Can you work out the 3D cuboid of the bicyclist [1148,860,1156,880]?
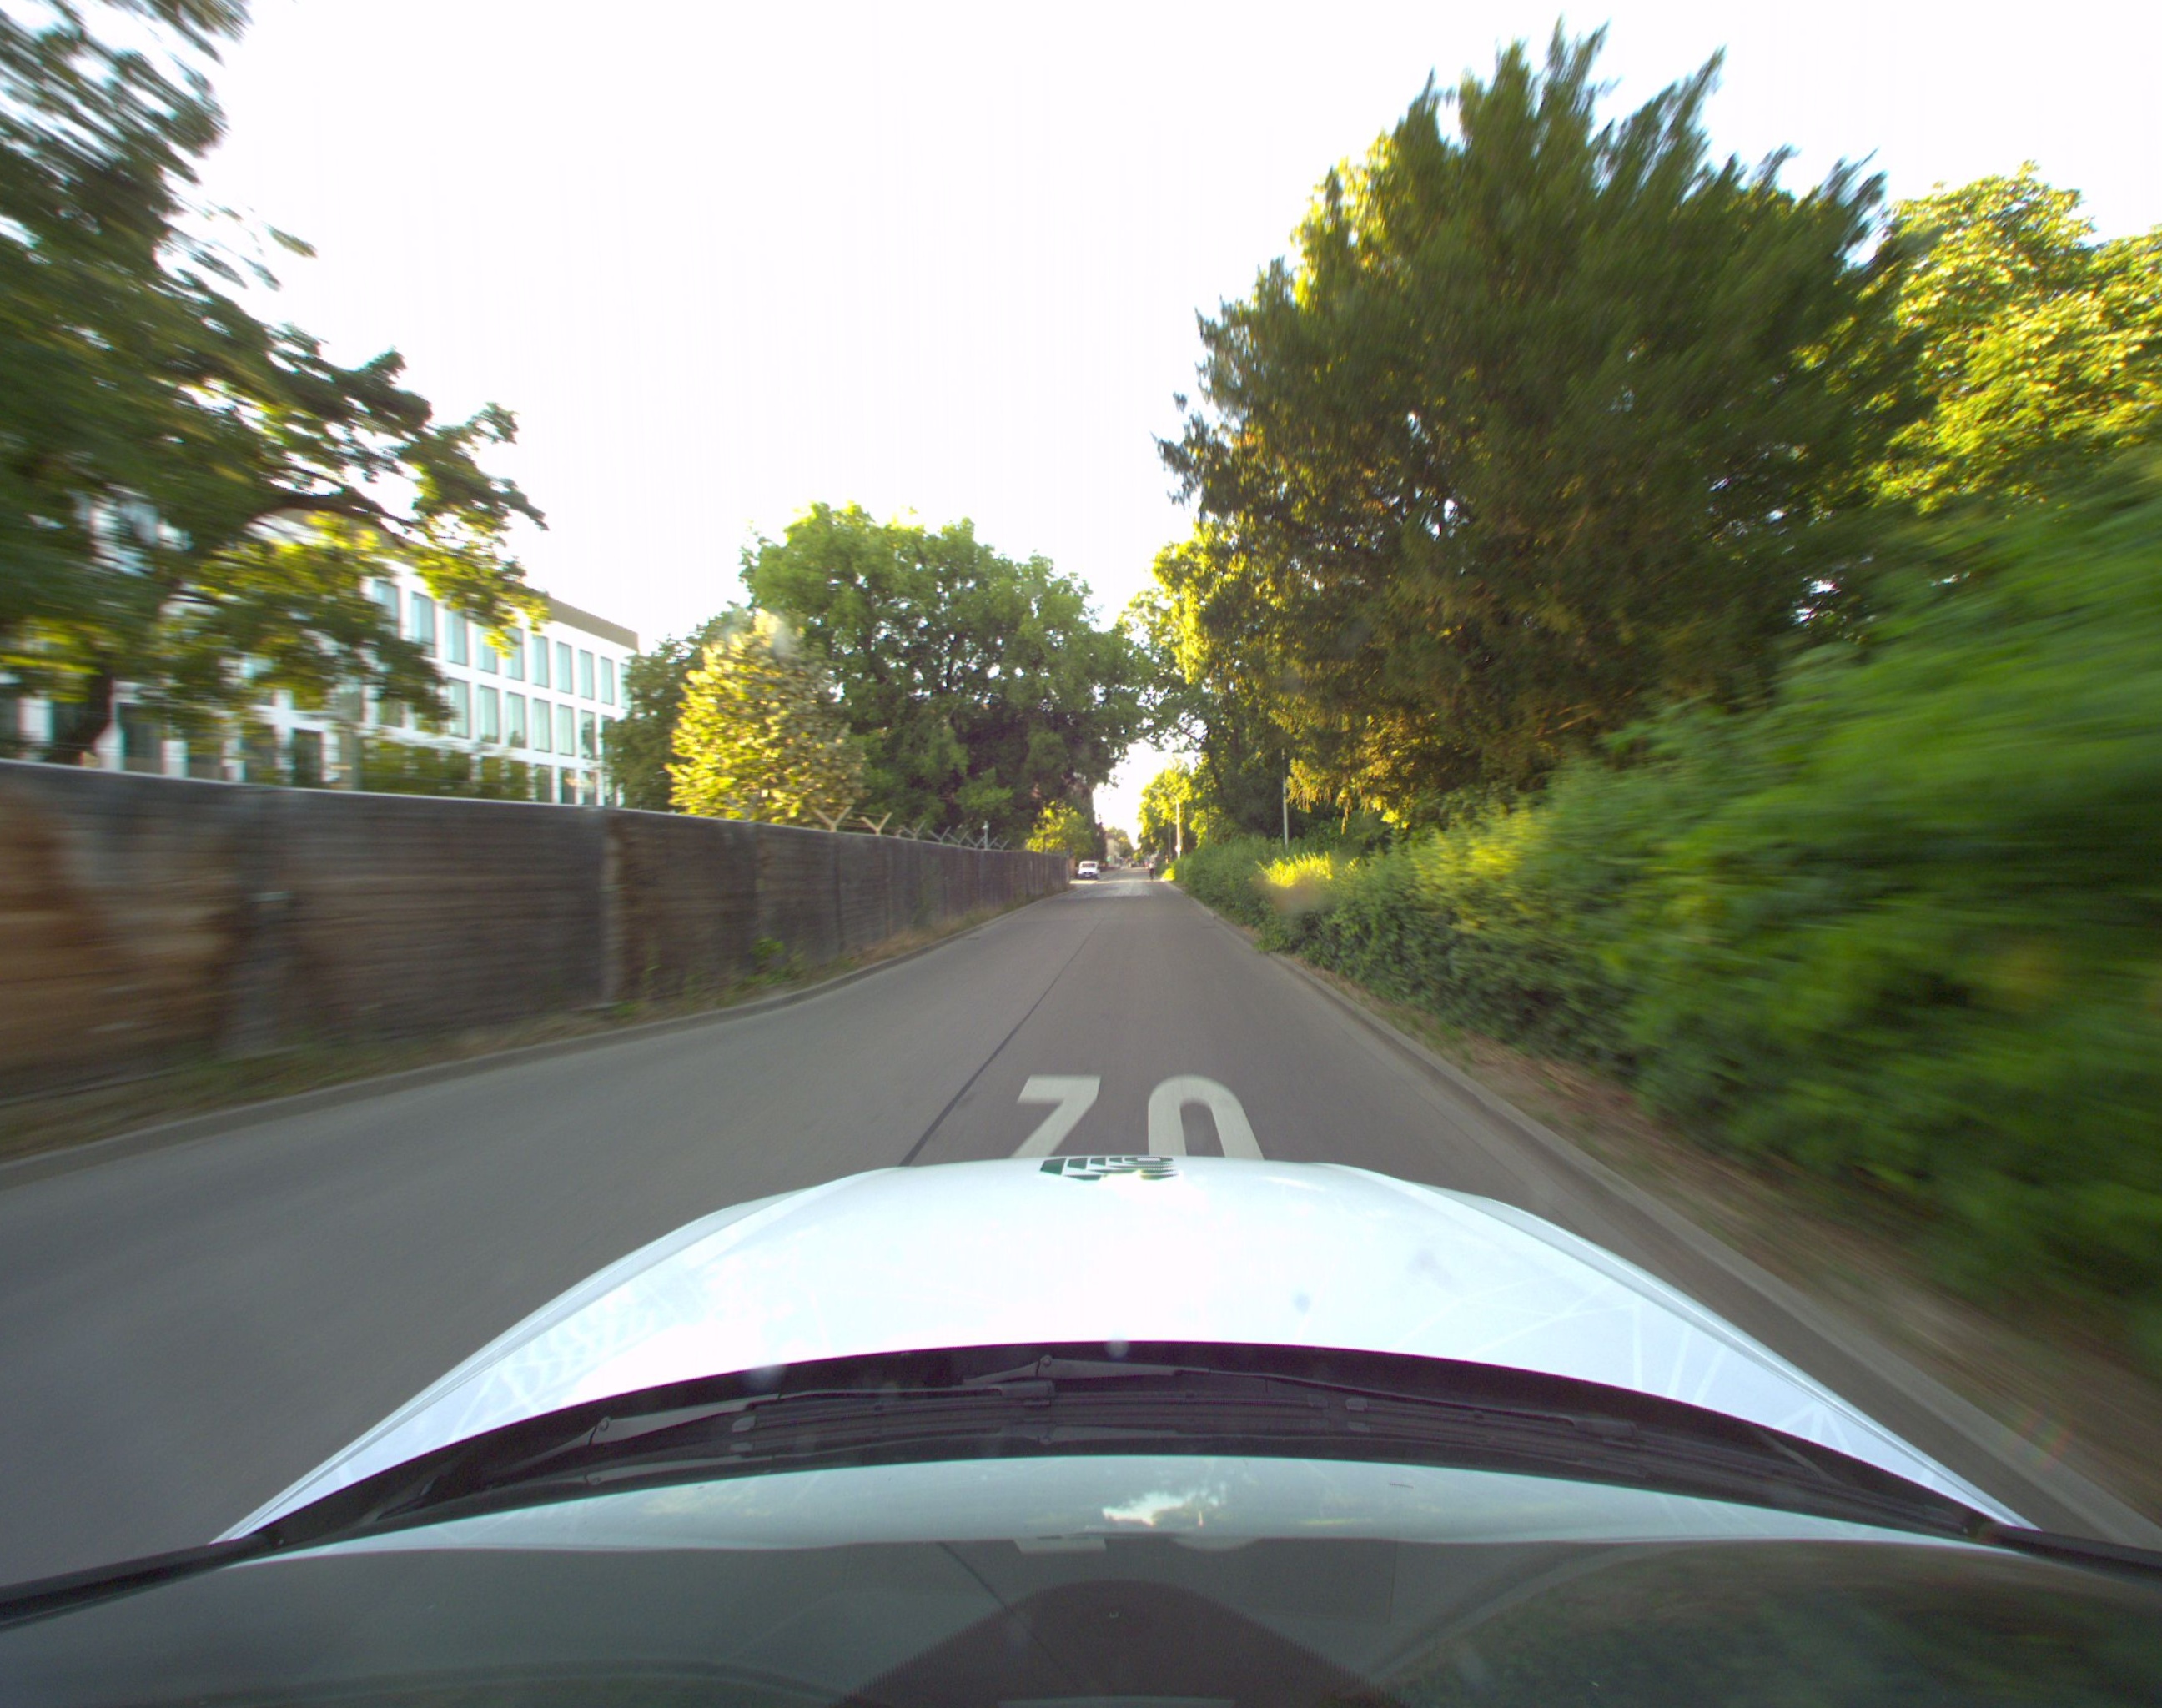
[{"bbox_3d":[6.103,1.364,70.426,0.636,1.667,0.843,-1,-1,2],"label":"bicyclist"}]

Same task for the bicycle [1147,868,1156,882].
[{"bbox_3d":[6.100,1.788,70.262,0.635,1.193,1.877,-1,-1,2],"label":"bicycle"}]

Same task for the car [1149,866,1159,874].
[{"bbox_3d":[14.031,3.043,156.436,1.709,1.538,4.050,-3,-1,2],"label":"car"}]

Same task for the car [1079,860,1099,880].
[{"bbox_3d":[0.843,1.662,84.041,1.875,2.014,5.228,0,-2,2],"label":"car"}]
